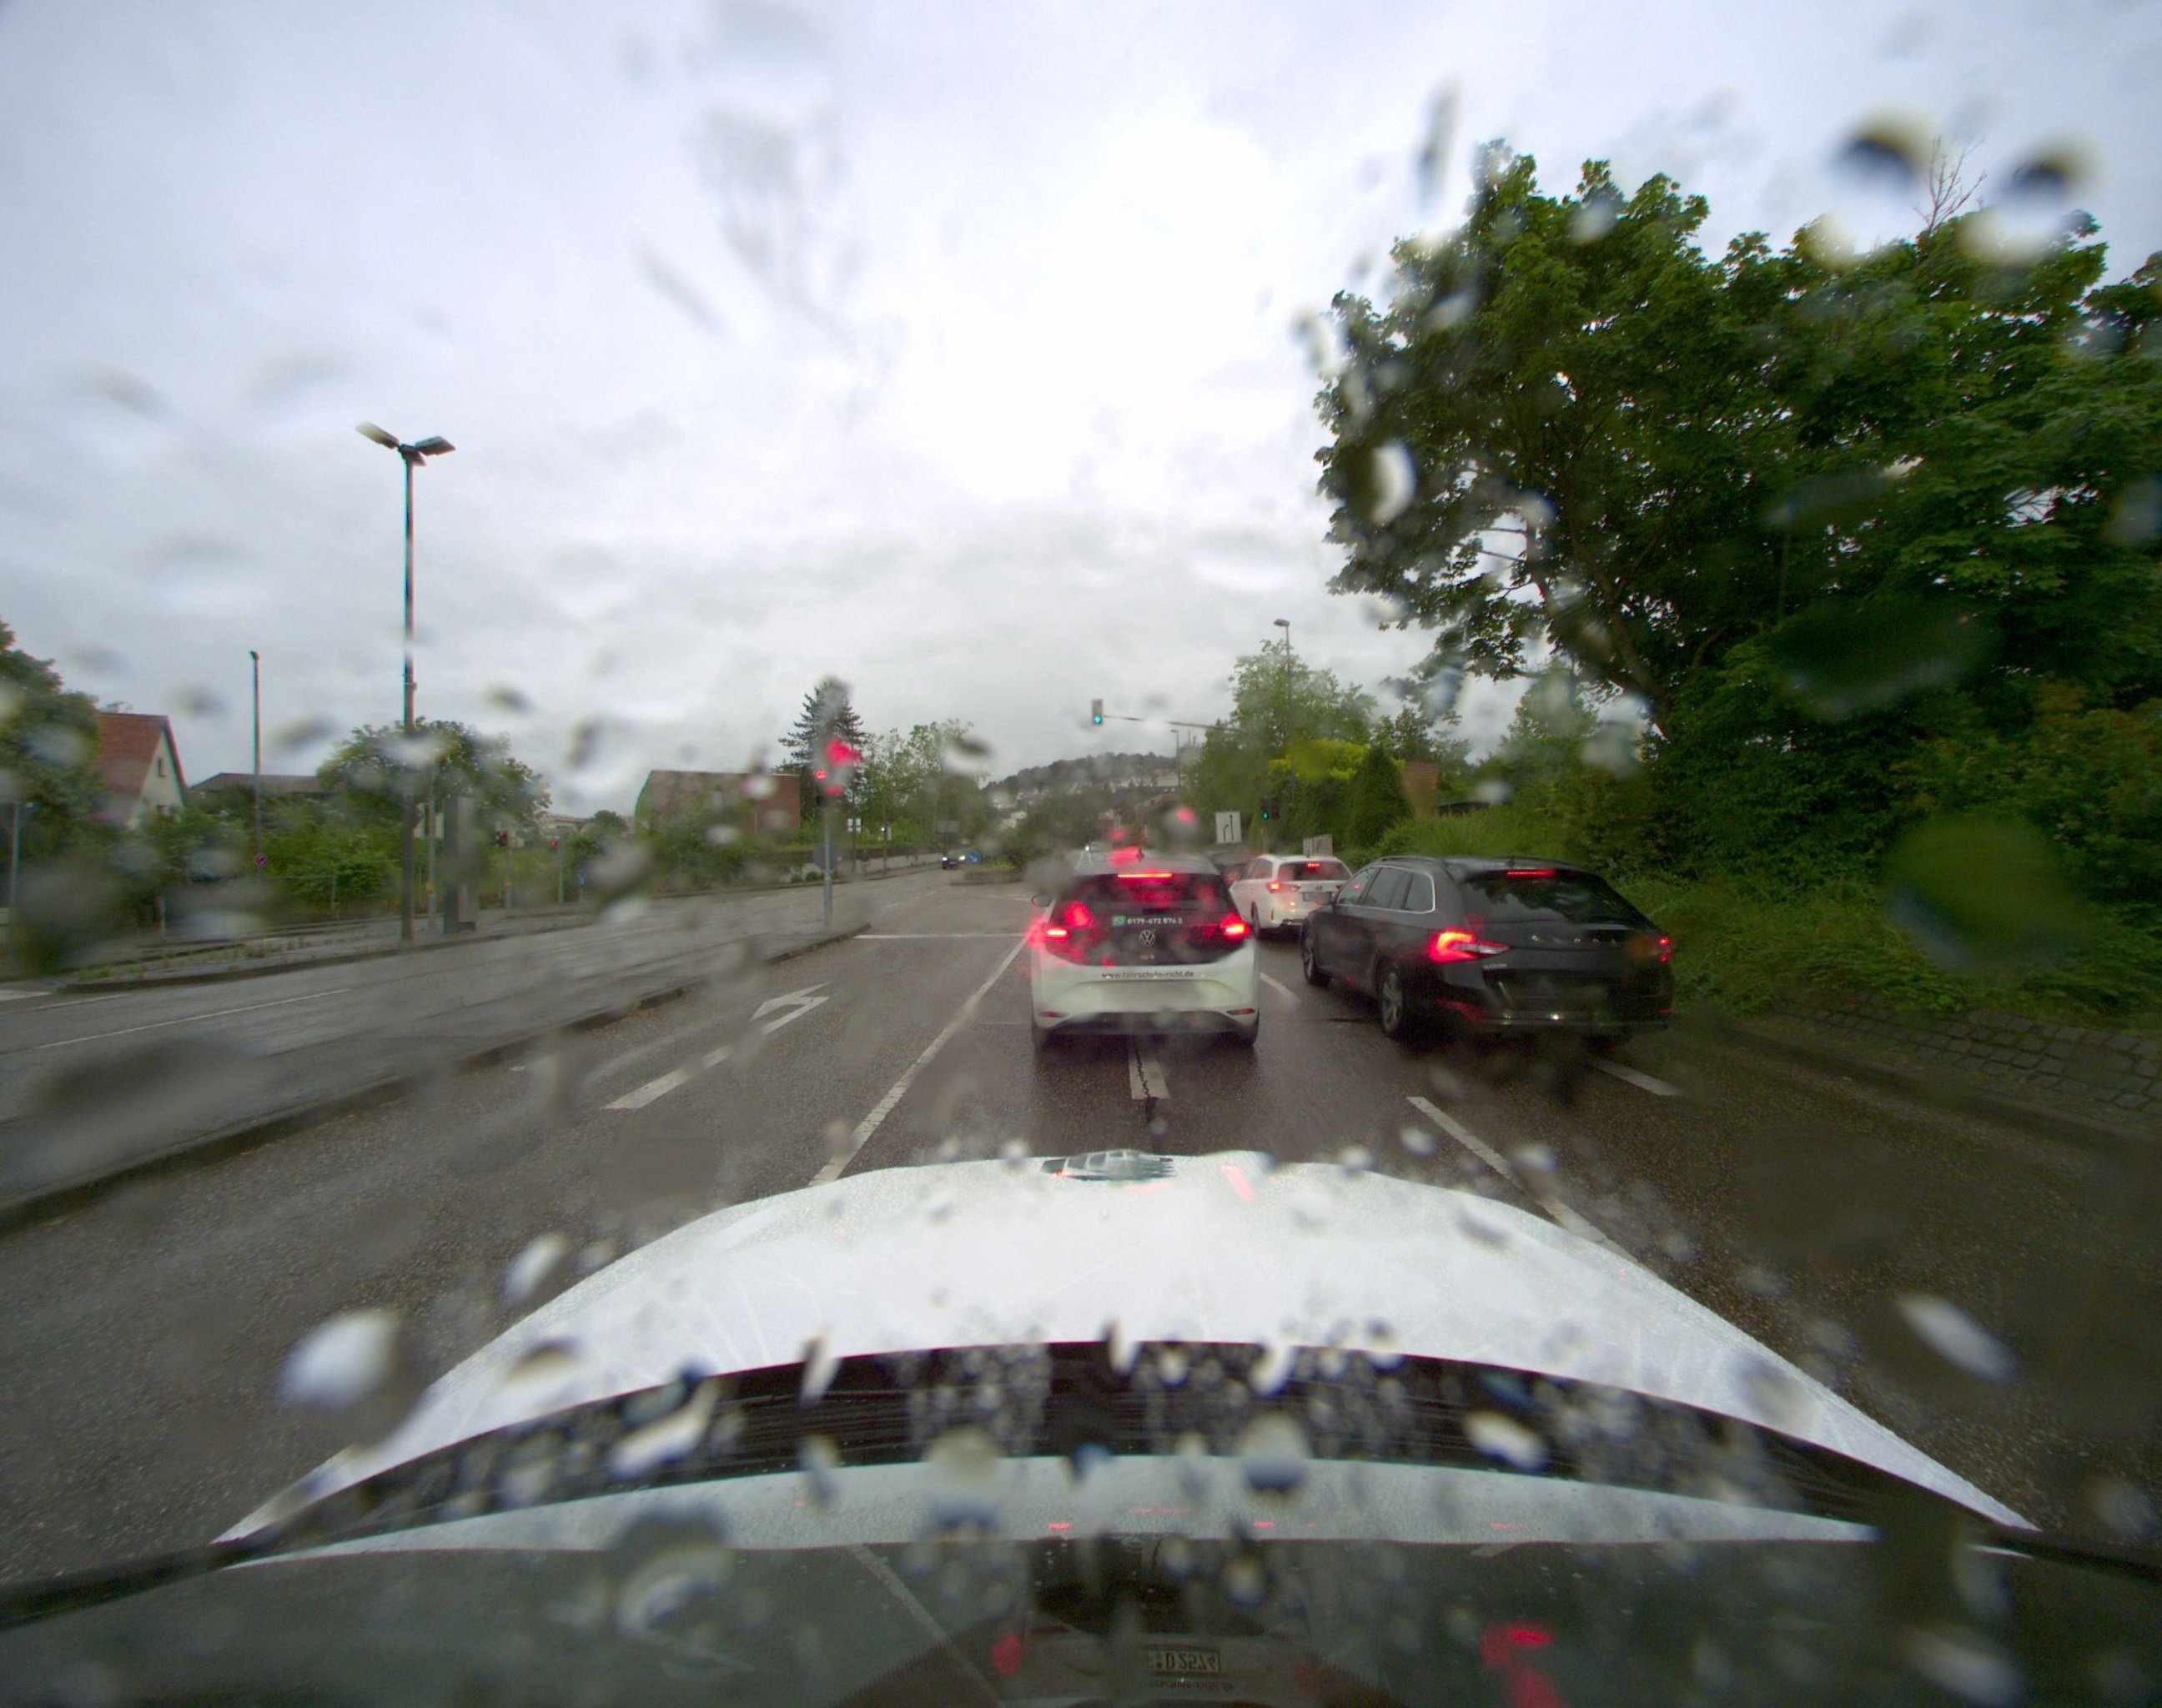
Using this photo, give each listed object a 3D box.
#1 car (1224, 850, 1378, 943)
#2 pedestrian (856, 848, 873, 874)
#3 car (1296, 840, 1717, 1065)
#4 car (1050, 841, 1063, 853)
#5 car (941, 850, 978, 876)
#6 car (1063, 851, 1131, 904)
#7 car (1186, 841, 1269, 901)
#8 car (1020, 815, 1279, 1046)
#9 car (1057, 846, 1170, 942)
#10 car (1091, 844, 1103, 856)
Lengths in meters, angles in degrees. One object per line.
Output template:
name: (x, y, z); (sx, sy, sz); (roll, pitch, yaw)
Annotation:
car: (3.857, 0.671, 15.002); (1.831, 1.466, 4.118); (0, 0, 1)
pedestrian: (-13.559, 0.445, 50.969); (0.757, 1.568, 0.825); (-4, 0, 1)
car: (3.364, 0.630, 7.529); (1.830, 1.466, 4.353); (0, 0, 3)
car: (-4.161, -1.249, 140.757); (1.986, 2.014, 4.002); (-1, -1, 2)
car: (-9.438, 0.681, 63.506); (1.986, 1.804, 4.002); (-4, 0, 2)
car: (0.467, 0.627, 23.726); (1.831, 1.400, 3.832); (0, 0, 1)
car: (4.089, 0.454, 23.305); (1.769, 1.581, 4.002); (0, 0, 2)
car: (0.535, 0.526, 8.074); (1.831, 1.629, 4.617); (0, 0, 1)
car: (0.582, 0.630, 15.316); (1.831, 1.555, 4.176); (0, 0, 1)
car: (2.243, -0.564, 112.322); (1.575, 1.467, 4.000); (-3, -1, 1)
